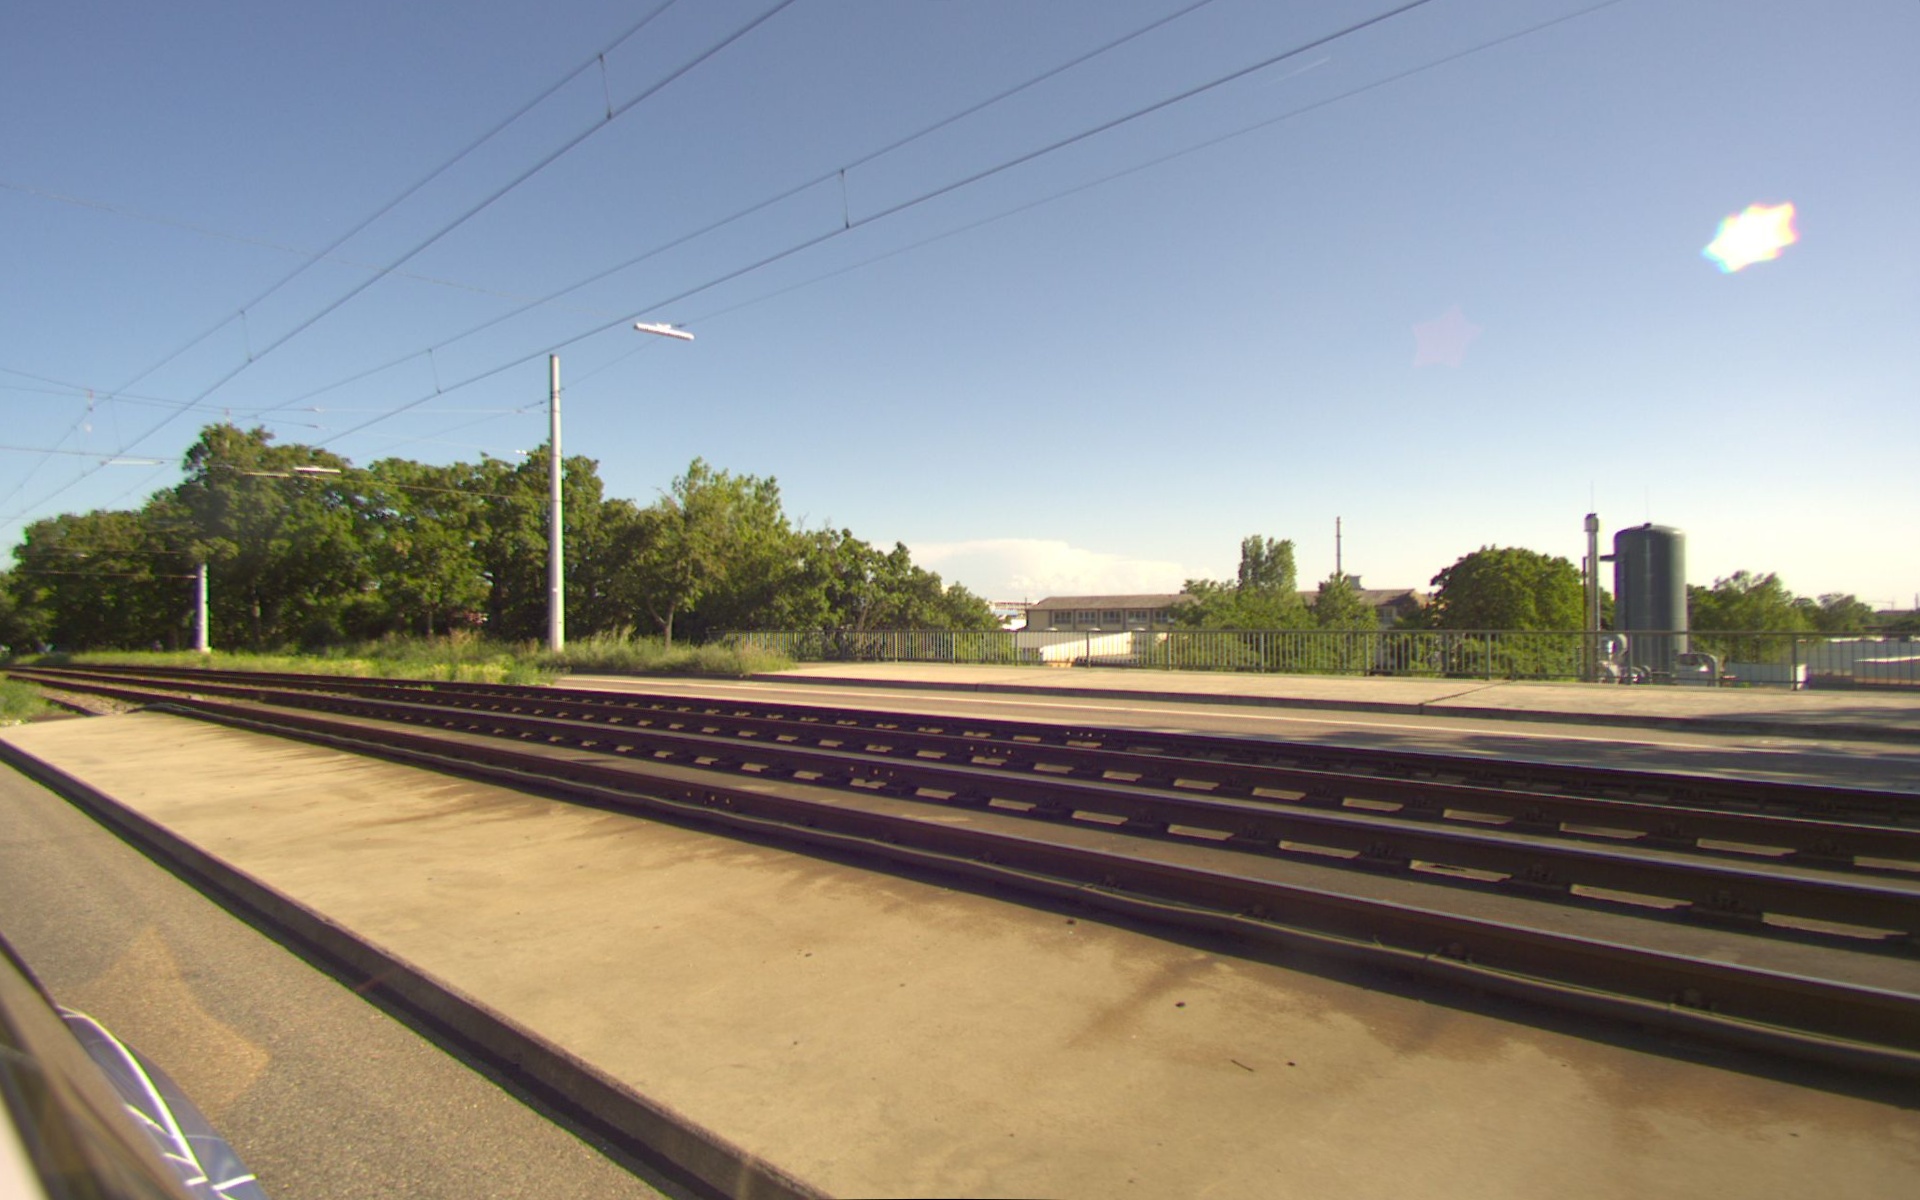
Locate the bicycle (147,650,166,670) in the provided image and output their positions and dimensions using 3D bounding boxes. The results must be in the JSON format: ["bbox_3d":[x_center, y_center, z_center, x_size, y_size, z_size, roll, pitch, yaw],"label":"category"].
[{"bbox_3d":[-53.934,4.006,67.905,2.426,1.271,0.583,-3,-1,42],"label":"bicycle"}]

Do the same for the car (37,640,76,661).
[{"bbox_3d":[-70.543,3.921,78.992,4.405,1.500,1.790,-3,-1,42],"label":"car"}]

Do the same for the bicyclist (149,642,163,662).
[{"bbox_3d":[-53.945,3.484,67.889,0.987,1.320,0.576,-3,-1,42],"label":"bicyclist"}]
